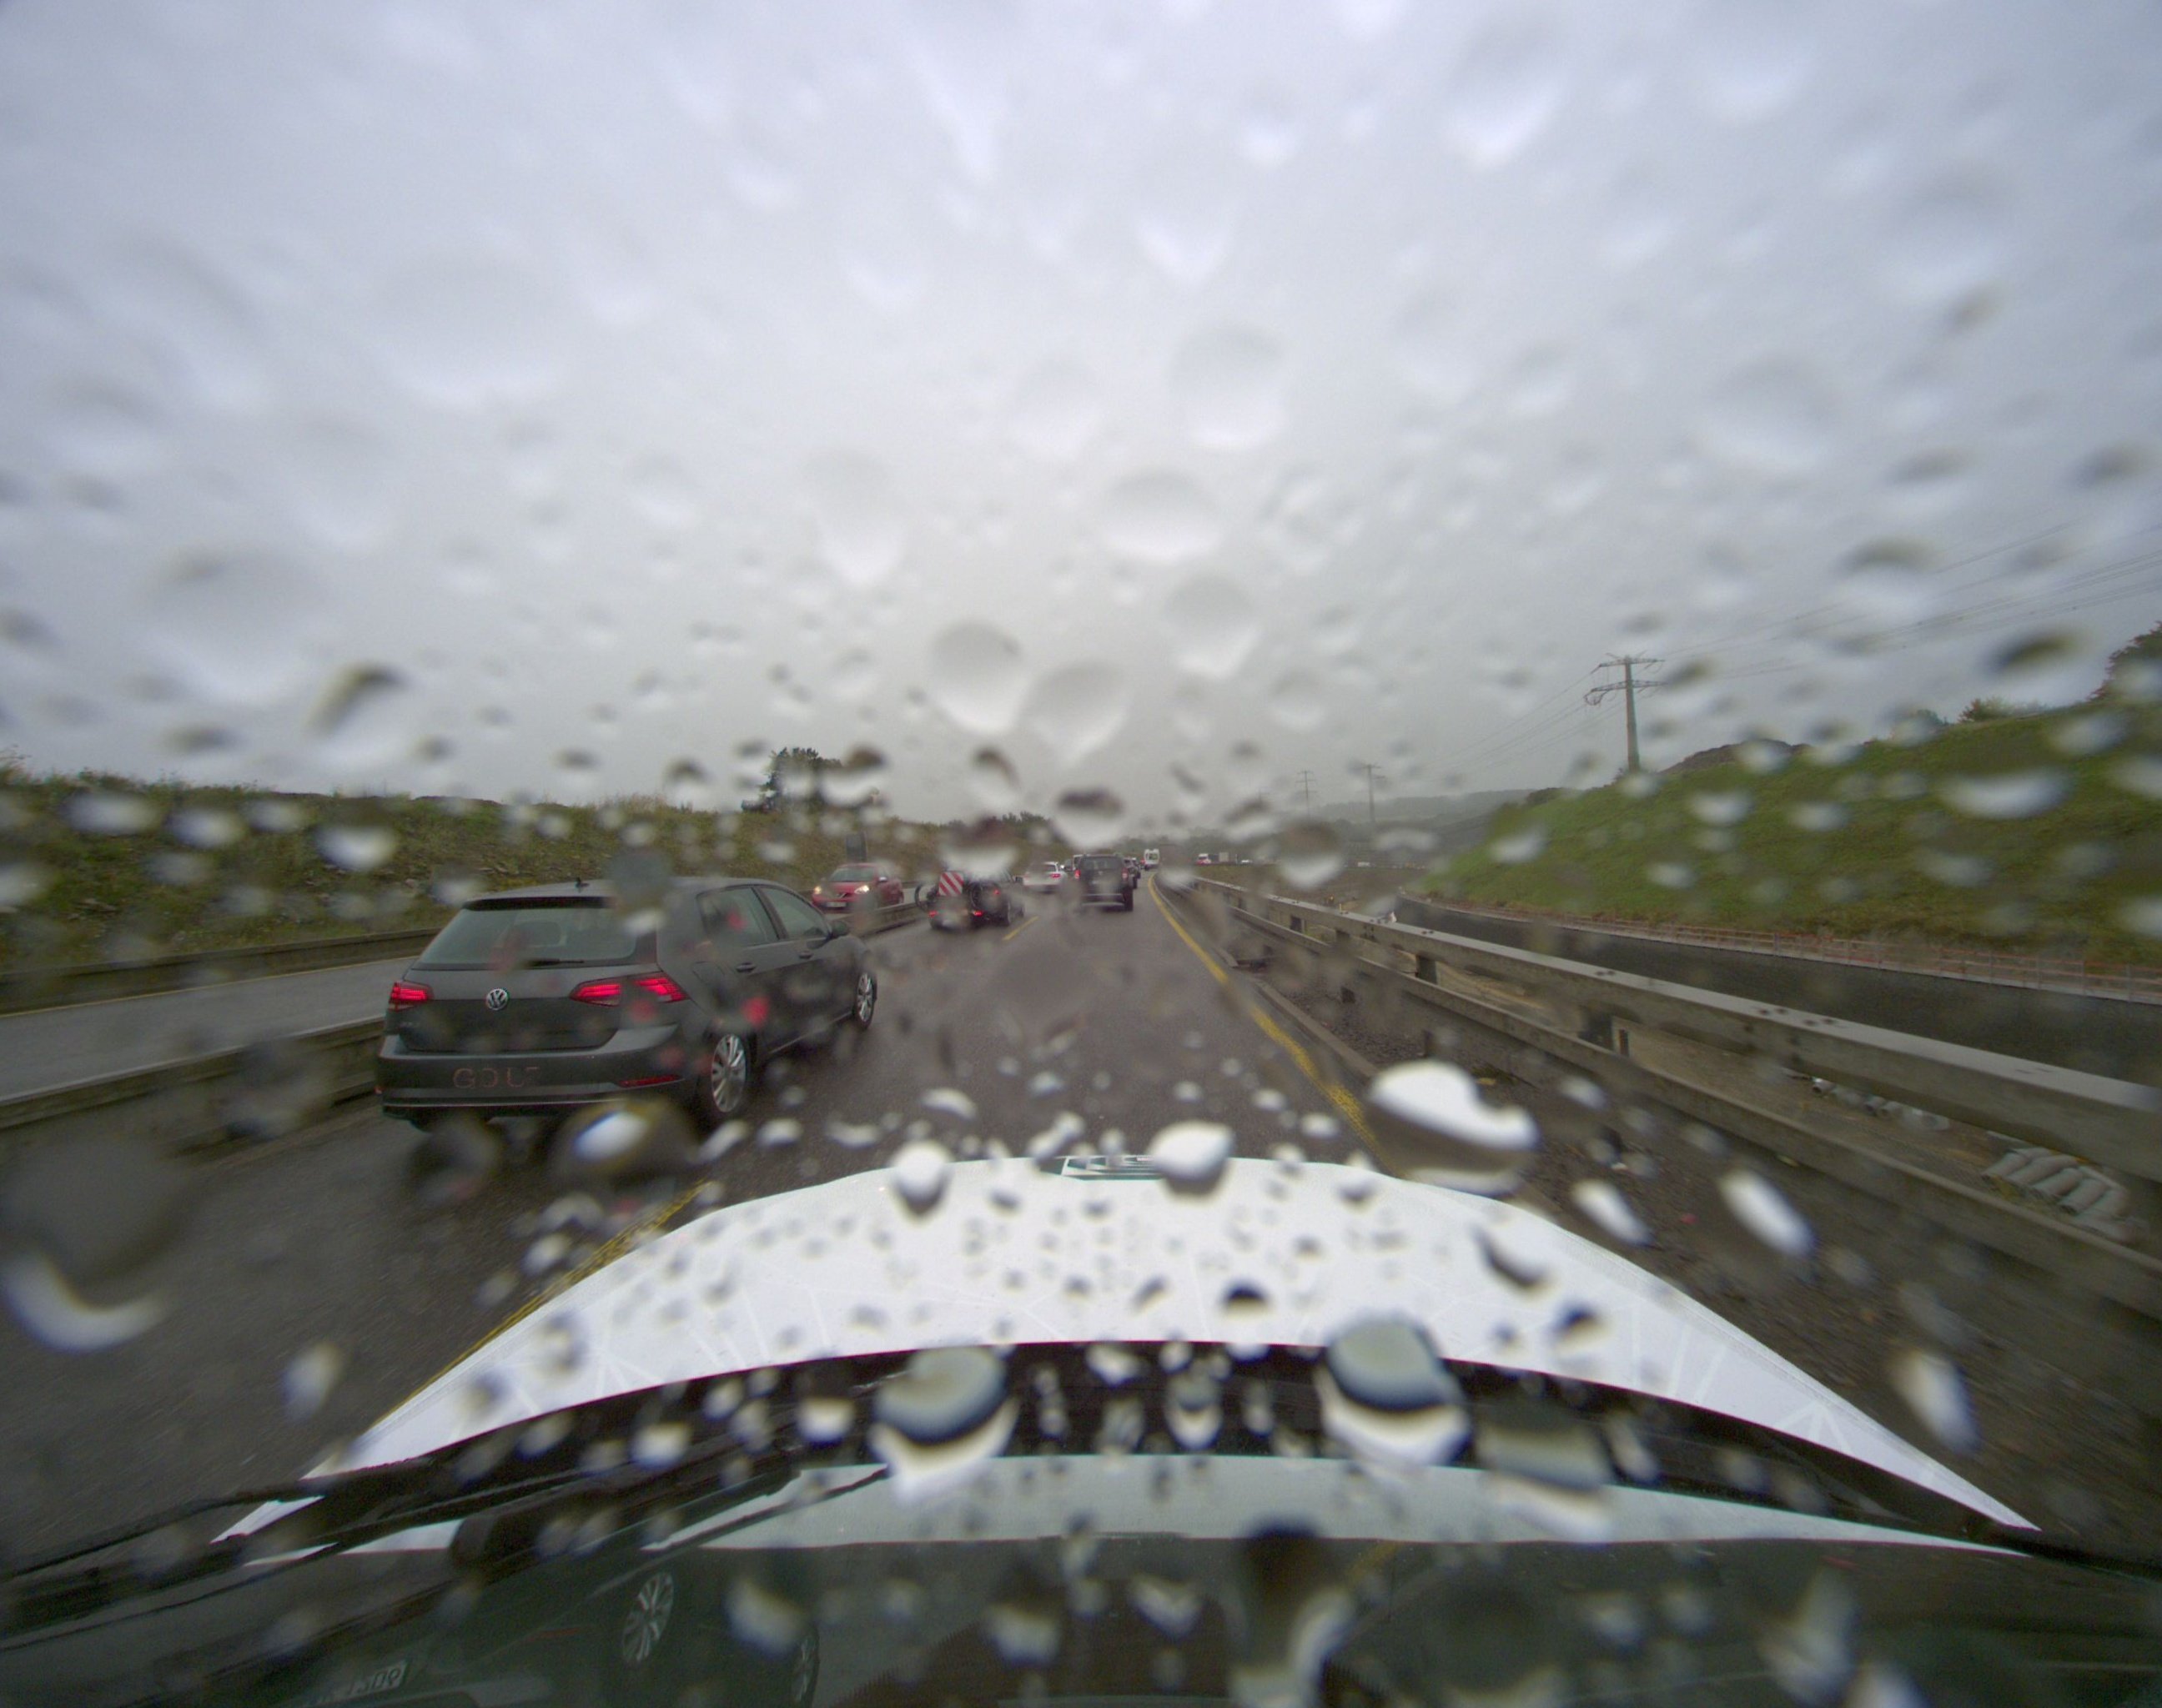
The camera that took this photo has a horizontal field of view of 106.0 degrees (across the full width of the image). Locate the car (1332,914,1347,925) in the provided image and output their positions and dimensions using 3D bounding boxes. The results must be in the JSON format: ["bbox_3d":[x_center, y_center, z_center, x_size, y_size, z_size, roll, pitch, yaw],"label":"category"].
[{"bbox_3d":[54.316,13.796,171.393,2.352,2.014,4.008,0,0,7],"label":"car"}]

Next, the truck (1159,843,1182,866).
[{"bbox_3d":[14.891,0.154,135.039,3.180,3.761,8.535,0,0,11],"label":"truck"}]

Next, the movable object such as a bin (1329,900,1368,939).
[{"bbox_3d":[29.446,7.159,89.956,3.199,3.867,4.128,1,0,5],"label":"movable object such as a bin"}]

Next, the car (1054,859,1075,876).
[{"bbox_3d":[-1.629,1.387,83.632,1.804,1.593,4.904,-3,-1,2],"label":"car"}]

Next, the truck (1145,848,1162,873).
[{"bbox_3d":[9.509,0.852,107.645,2.139,3.166,6.467,0,0,4],"label":"truck"}]

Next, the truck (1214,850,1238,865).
[{"bbox_3d":[41.486,1.053,232.748,4.680,4.150,15.753,0,0,18],"label":"truck"}]

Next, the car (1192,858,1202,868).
[{"bbox_3d":[23.085,1.771,161.439,1.763,1.916,4.012,0,0,11],"label":"car"}]

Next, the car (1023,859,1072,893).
[{"bbox_3d":[-1.475,0.965,37.457,1.860,1.460,4.551,0,0,3],"label":"car"}]

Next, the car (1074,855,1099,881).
[{"bbox_3d":[0.429,1.021,59.903,1.653,1.880,4.023,0,0,4],"label":"car"}]

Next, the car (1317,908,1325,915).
[{"bbox_3d":[72.005,17.207,244.018,1.977,2.014,4.020,0,-1,20],"label":"car"}]

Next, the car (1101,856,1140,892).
[{"bbox_3d":[2.021,0.976,40.768,1.859,1.708,4.004,0,0,3],"label":"car"}]

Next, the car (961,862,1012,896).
[{"bbox_3d":[-4.979,1.284,43.460,2.038,1.633,4.990,-1,-1,1],"label":"car"}]

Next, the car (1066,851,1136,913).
[{"bbox_3d":[0.663,0.785,23.919,1.796,1.646,3.781,-1,-1,5],"label":"car"}]

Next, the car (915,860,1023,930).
[{"bbox_3d":[-2.549,0.899,19.440,1.821,1.476,3.779,-1,-1,3],"label":"car"}]

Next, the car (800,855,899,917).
[{"bbox_3d":[-6.474,0.867,23.172,1.722,1.577,3.720,-1,-1,0],"label":"car"}]

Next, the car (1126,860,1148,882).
[{"bbox_3d":[4.244,1.269,61.887,1.525,1.640,4.013,0,0,1],"label":"car"}]

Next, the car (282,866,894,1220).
[{"bbox_3d":[-2.735,0.885,5.865,1.608,1.506,4.369,-2,-1,1],"label":"car"}]

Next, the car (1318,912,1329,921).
[{"bbox_3d":[56.332,14.568,188.975,1.981,1.816,4.011,-1,-1,10],"label":"car"}]
